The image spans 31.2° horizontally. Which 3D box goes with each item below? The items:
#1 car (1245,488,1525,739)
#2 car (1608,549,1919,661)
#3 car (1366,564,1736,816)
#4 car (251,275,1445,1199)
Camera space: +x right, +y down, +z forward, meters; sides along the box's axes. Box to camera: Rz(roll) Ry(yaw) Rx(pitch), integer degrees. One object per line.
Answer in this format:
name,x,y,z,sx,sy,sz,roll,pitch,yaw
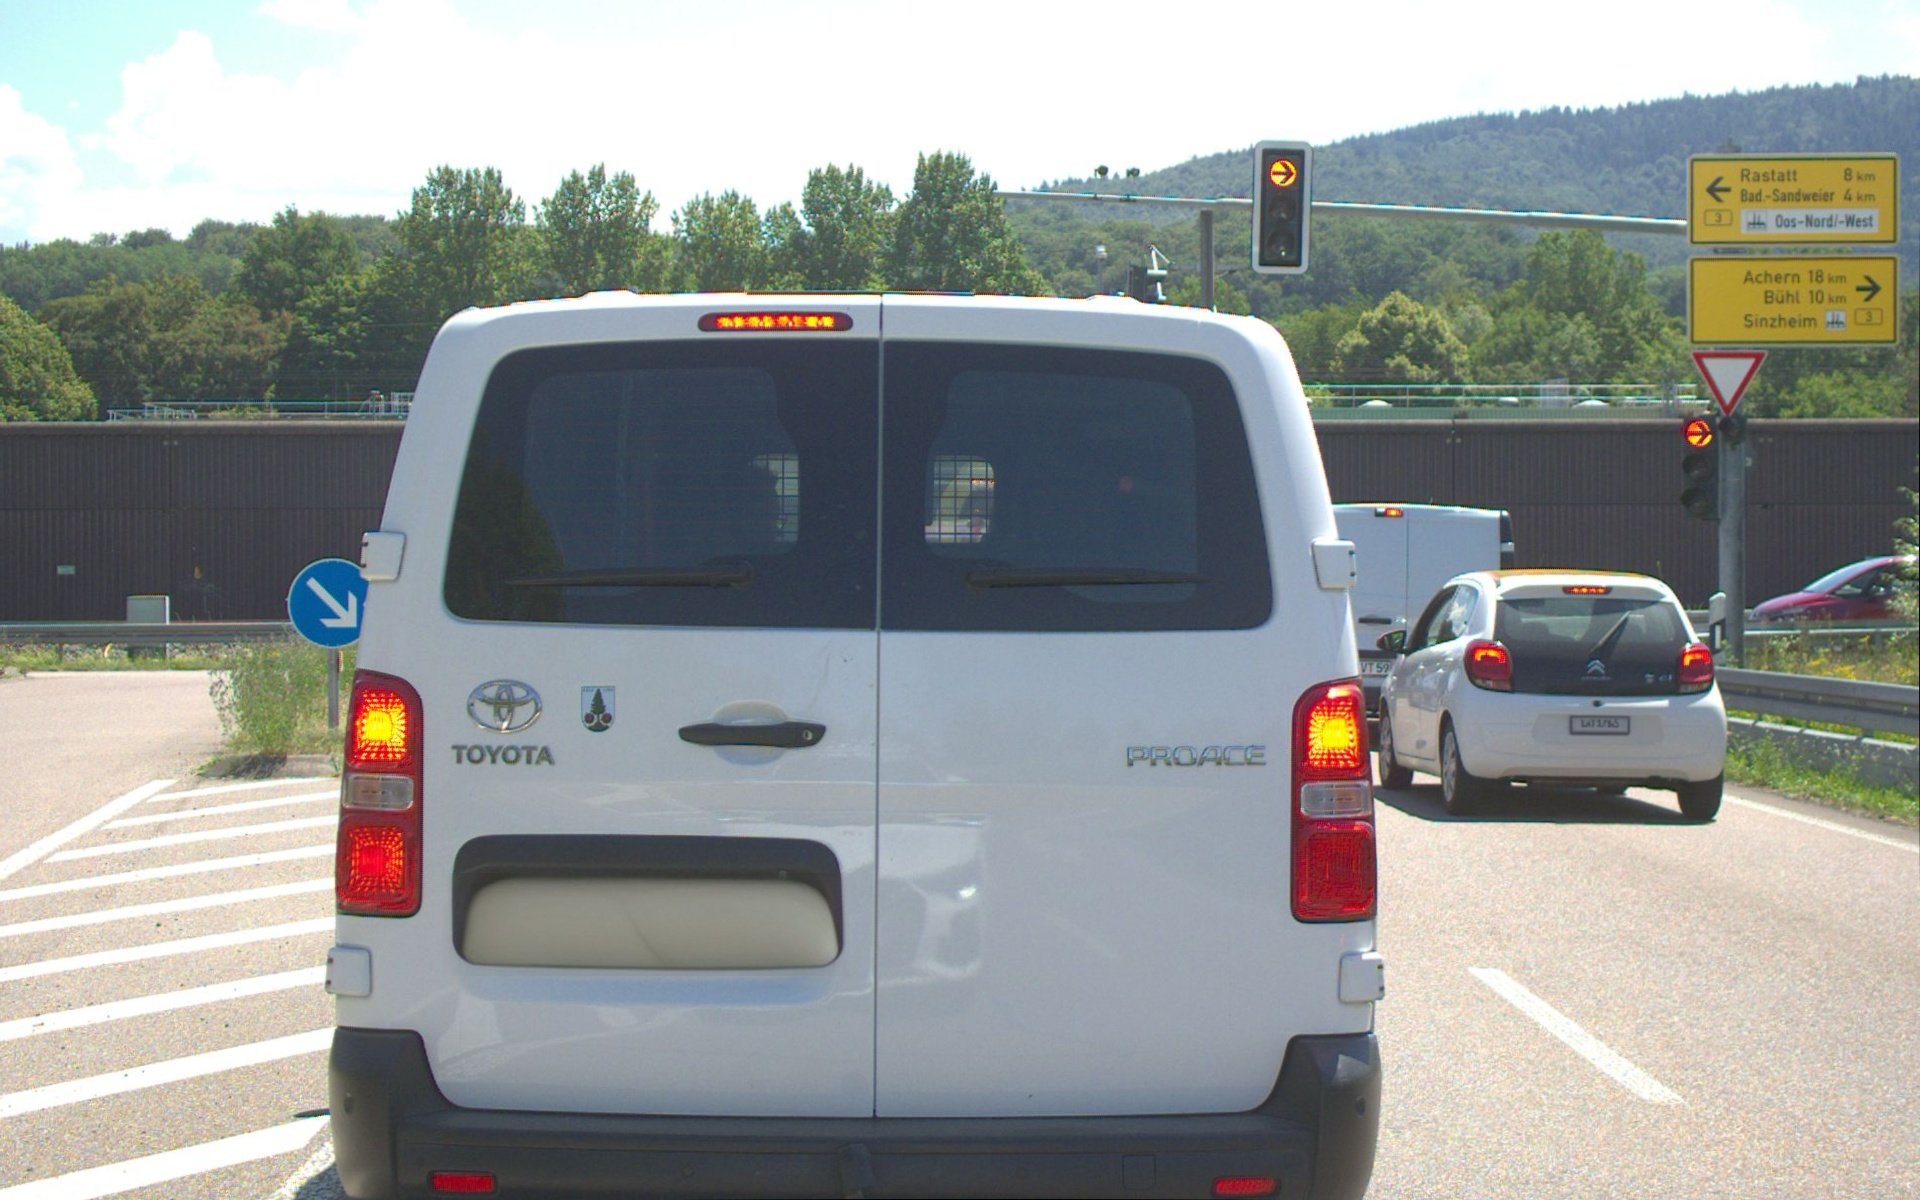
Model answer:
car,3.613,0.082,30.038,1.928,1.993,4.837,1,1,1
car,12.110,0.065,51.632,4.309,1.651,2.000,0,1,-3
car,3.592,0.498,21.410,1.656,1.426,3.366,1,1,-1
car,-0.213,0.411,7.480,1.886,1.880,4.000,1,1,-1
